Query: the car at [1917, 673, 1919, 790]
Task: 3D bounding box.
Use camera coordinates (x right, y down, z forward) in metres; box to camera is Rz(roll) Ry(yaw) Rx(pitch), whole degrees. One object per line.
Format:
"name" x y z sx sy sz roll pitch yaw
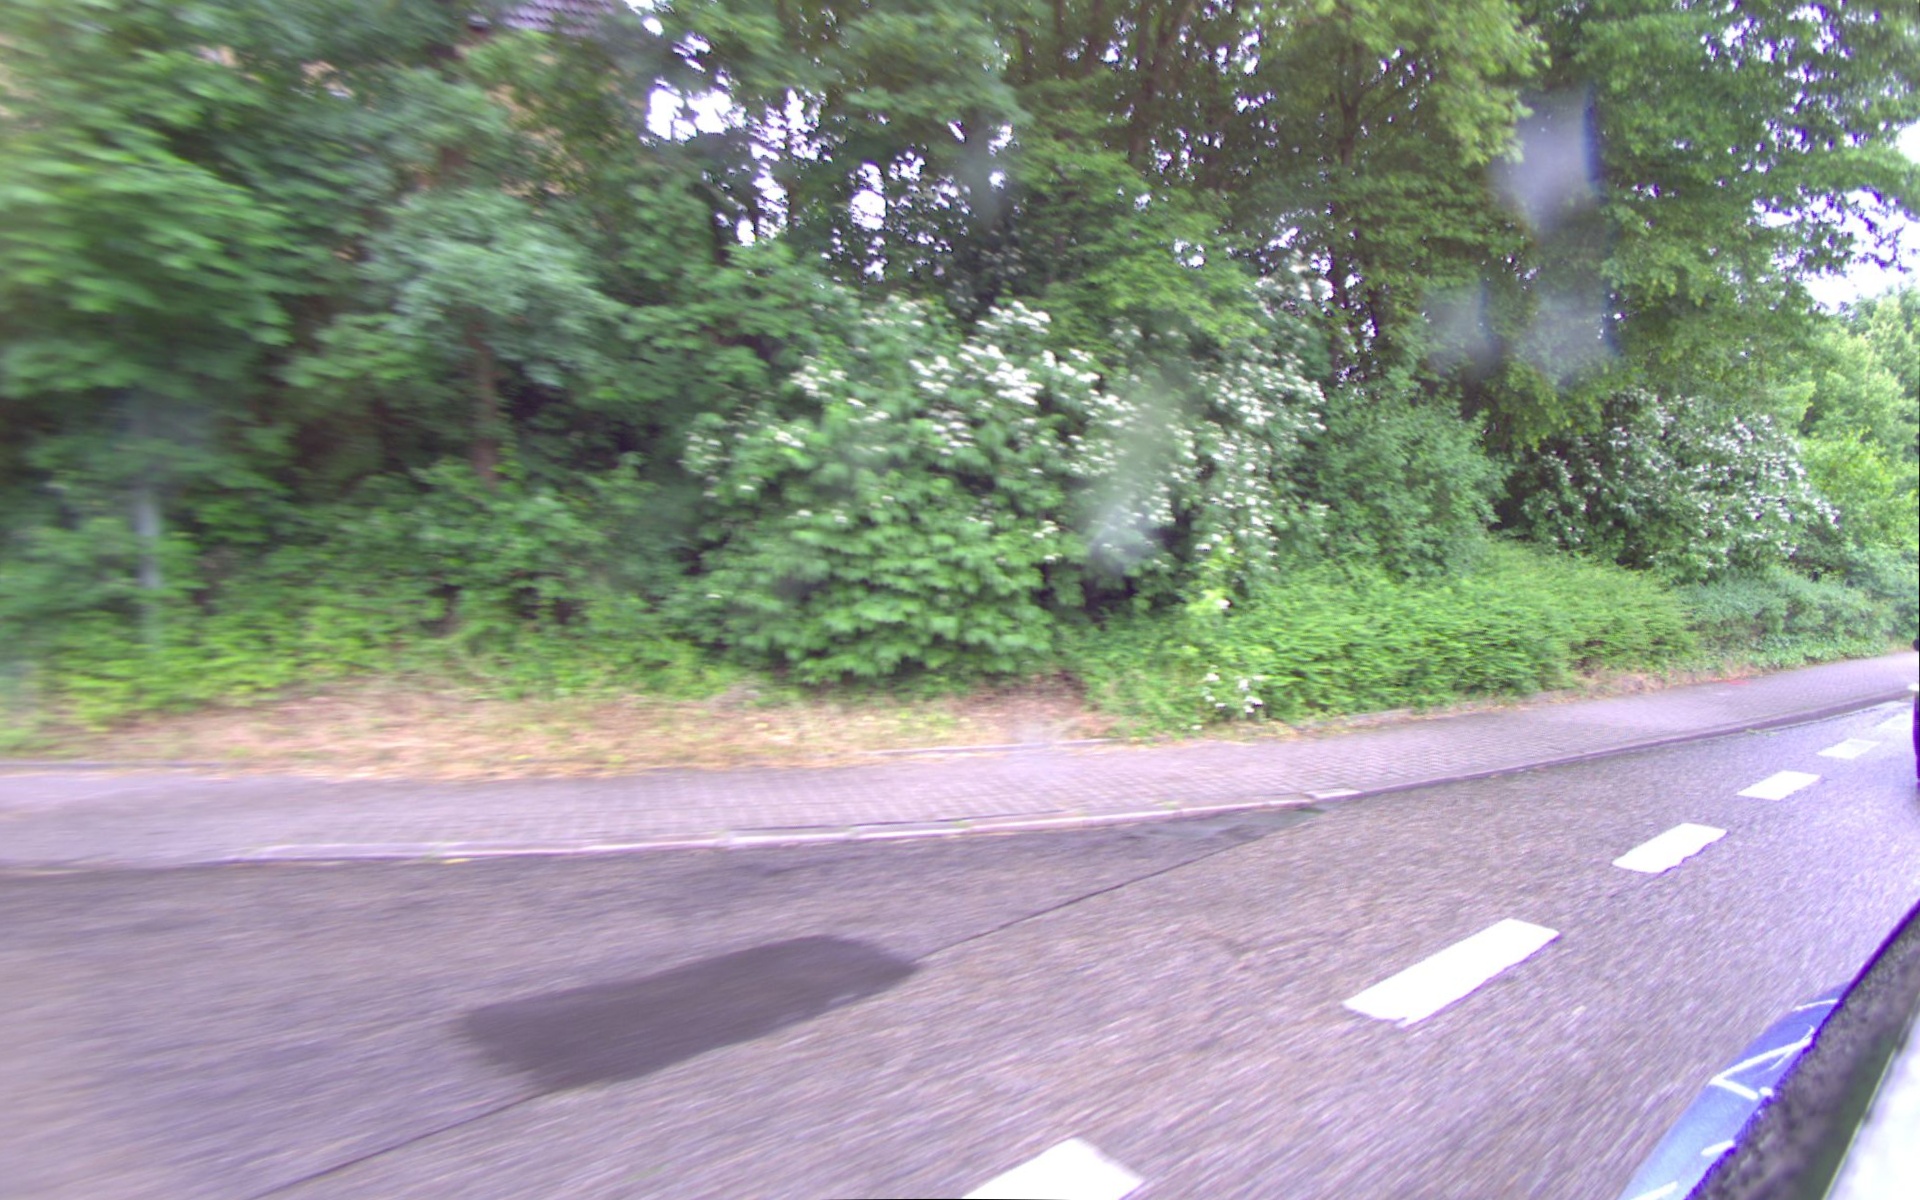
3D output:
"car" 9.212 0.590 8.086 4.048 1.575 1.866 -2 3 -41
